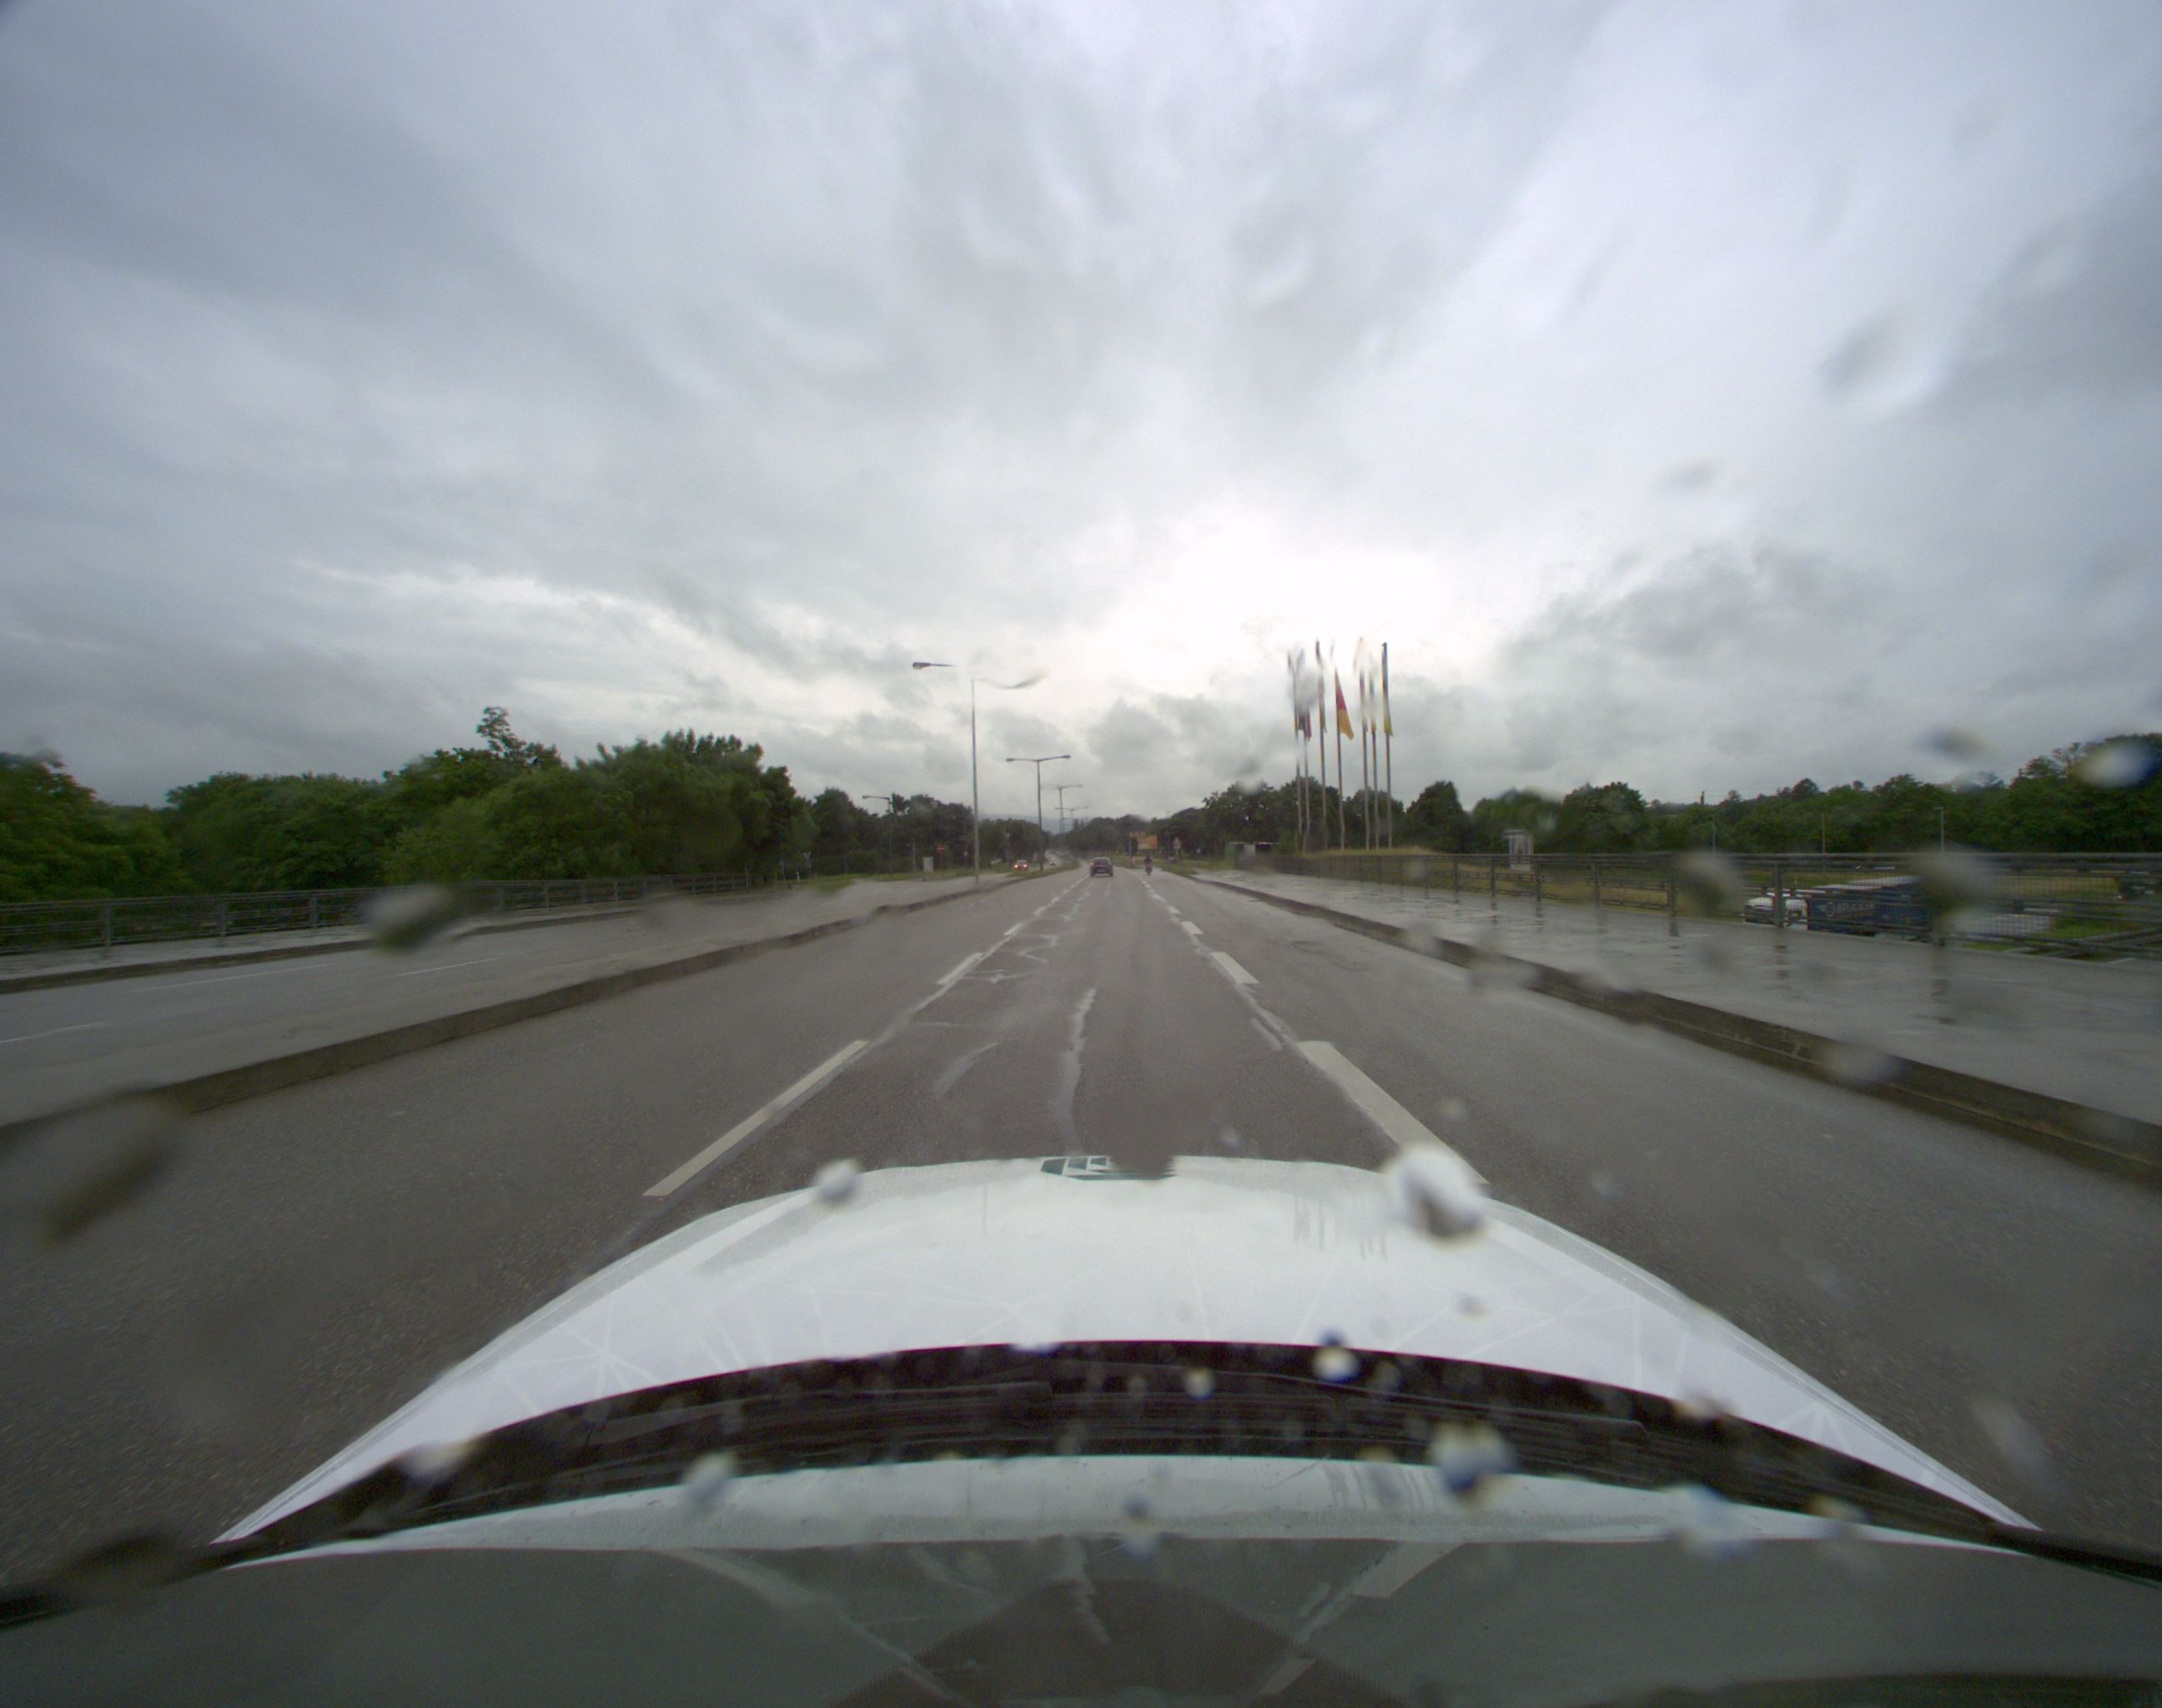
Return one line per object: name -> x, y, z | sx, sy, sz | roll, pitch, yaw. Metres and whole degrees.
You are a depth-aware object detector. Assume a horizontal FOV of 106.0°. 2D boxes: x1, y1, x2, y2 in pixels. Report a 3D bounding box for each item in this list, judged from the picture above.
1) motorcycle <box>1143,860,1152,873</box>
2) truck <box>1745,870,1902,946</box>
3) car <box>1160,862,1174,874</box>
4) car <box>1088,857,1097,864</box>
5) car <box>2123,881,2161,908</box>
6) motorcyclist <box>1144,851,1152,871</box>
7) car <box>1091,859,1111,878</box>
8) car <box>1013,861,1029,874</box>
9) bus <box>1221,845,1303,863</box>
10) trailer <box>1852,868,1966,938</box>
motorcycle -> 5.609, 1.035, 68.471 | 0.599, 1.093, 1.732 | -1, 0, 1
truck -> 46.930, 3.258, 51.387 | 10.944, 4.301, 2.552 | -1, 0, -20
car -> 12.119, 1.948, 114.737 | 1.846, 1.618, 4.004 | 0, -1, 4
car -> 3.494, 1.976, 255.929 | 2.510, 2.052, 5.288 | -2, -1, -3
car -> 87.707, 3.264, 66.019 | 5.617, 1.965, 2.284 | -1, 0, -19
motorcyclist -> 5.591, 0.593, 68.454 | 0.599, 1.690, 0.860 | -1, 0, 1
car -> 1.525, 1.068, 61.581 | 1.458, 1.329, 3.758 | -1, 0, 1
car -> -7.751, 1.733, 105.523 | 1.654, 1.448, 3.558 | -4, -1, 2
bus -> 28.767, 0.005, 128.781 | 14.631, 2.680, 2.737 | 0, -1, -29
trailer -> 55.521, 3.175, 54.616 | 7.372, 4.301, 2.552 | -1, 0, -20
